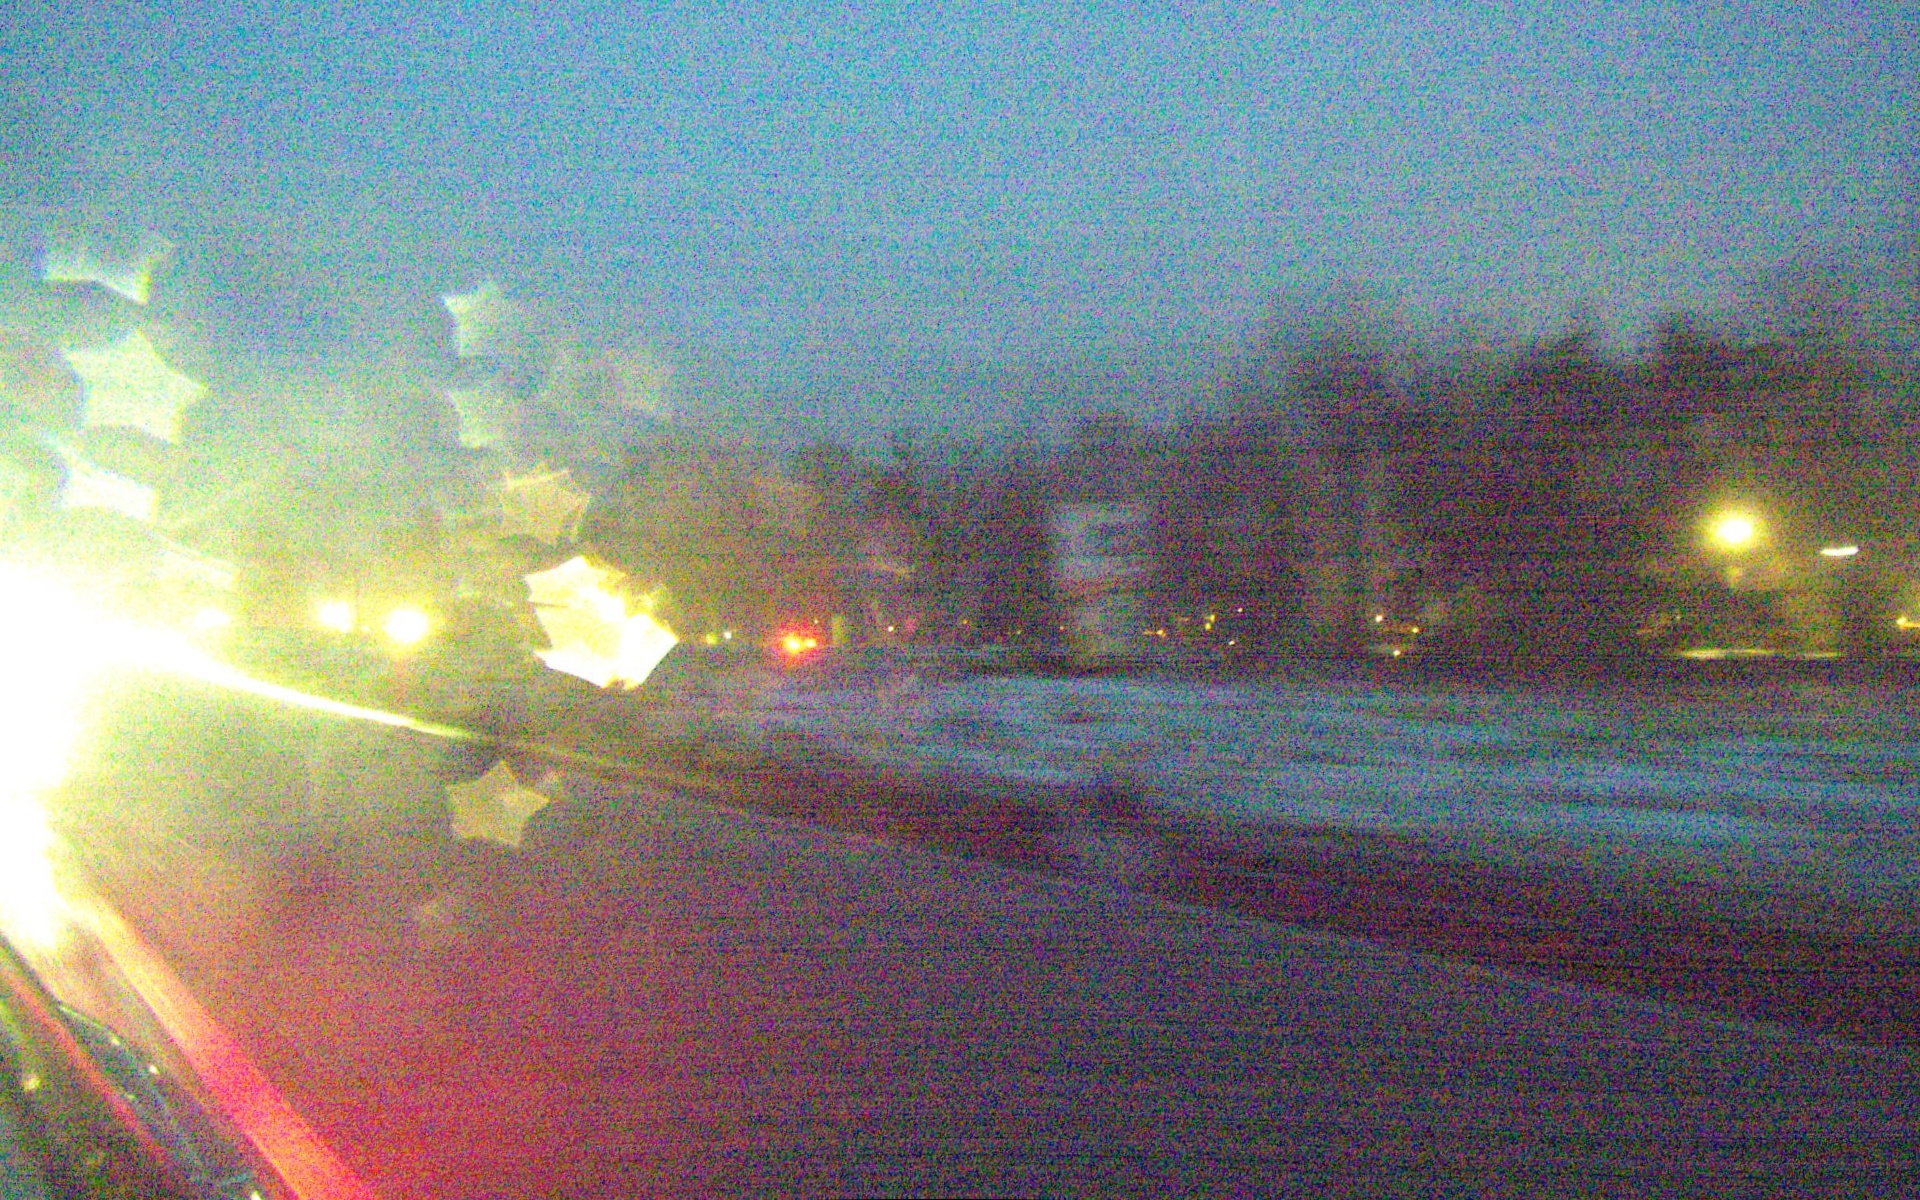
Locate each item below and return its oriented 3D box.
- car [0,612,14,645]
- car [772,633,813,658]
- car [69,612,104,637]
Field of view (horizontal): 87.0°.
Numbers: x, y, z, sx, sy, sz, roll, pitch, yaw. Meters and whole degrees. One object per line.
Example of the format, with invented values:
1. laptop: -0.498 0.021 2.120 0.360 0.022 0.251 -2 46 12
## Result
1. car: -53.303 1.559 55.575 1.931 1.735 4.004 0 -1 -42
2. car: -11.903 3.228 71.941 1.633 1.532 3.459 -2 1 -33
3. car: -59.397 1.639 68.788 1.713 1.554 4.005 -2 1 -41
